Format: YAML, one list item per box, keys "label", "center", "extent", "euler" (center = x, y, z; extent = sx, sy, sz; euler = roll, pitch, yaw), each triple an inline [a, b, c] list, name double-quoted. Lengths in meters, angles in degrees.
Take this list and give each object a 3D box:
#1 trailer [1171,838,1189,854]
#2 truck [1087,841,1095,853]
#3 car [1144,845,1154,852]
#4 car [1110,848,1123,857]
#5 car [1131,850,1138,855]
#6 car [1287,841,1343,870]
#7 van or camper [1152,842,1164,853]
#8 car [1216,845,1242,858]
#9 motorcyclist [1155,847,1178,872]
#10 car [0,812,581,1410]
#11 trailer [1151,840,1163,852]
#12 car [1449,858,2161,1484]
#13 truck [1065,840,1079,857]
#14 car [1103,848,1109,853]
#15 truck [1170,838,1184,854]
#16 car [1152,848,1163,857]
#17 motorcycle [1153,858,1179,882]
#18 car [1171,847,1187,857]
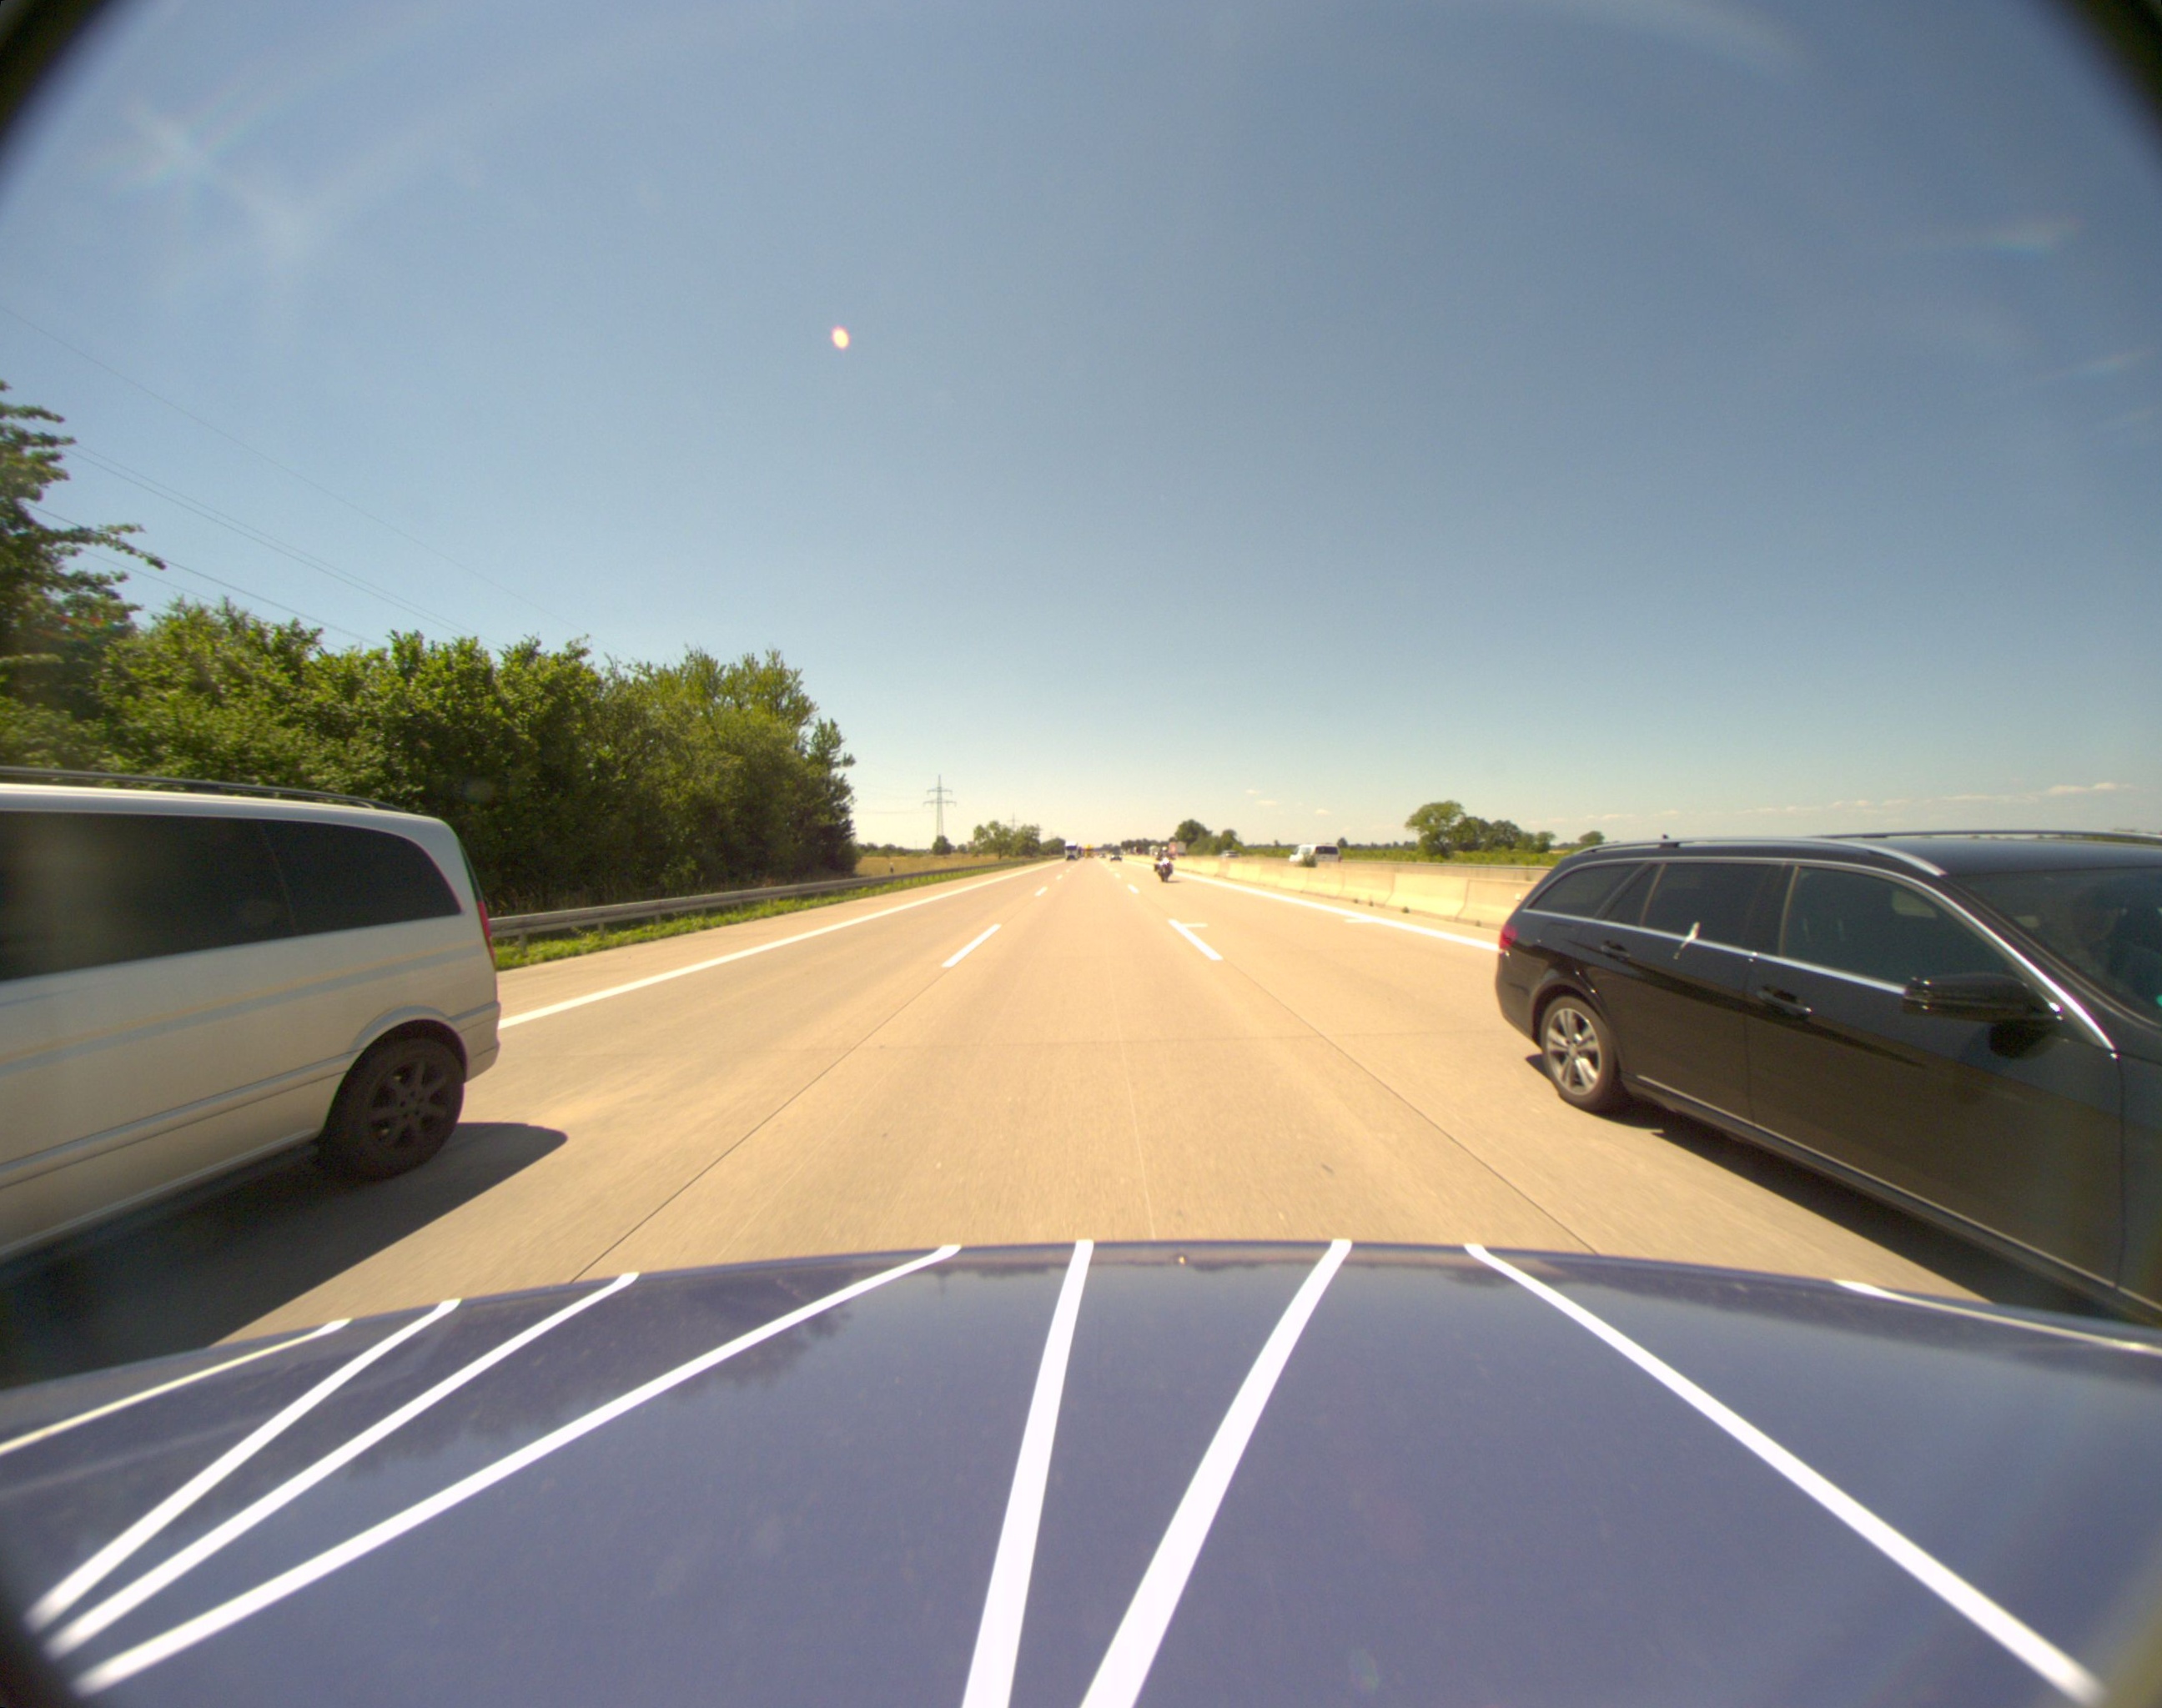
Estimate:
- label: "trailer"
  center: [24.819, -2.038, 191.221]
  extent: [3.007, 3.959, 12.341]
  euler: [-1, 0, 1]
- label: "truck"
  center: [3.092, -2.128, 237.220]
  extent: [2.570, 3.711, 10.099]
  euler: [-1, 0, 1]
- label: "car"
  center: [16.129, -1.379, 180.048]
  extent: [1.847, 1.606, 4.427]
  euler: [0, 0, 0]
- label: "car"
  center: [5.716, -0.280, 124.208]
  extent: [1.998, 1.518, 4.000]
  euler: [-1, 1, 1]
- label: "car"
  center: [16.069, -0.477, 229.628]
  extent: [1.798, 1.546, 4.601]
  euler: [-1, 0, 1]
- label: "car"
  center: [14.783, 0.078, 48.316]
  extent: [1.831, 1.708, 5.792]
  euler: [-1, 1, 1]
- label: "van or camper"
  center: [20.294, -1.703, 201.206]
  extent: [2.532, 2.873, 7.937]
  euler: [-1, 0, 1]
- label: "car"
  center: [18.276, -0.314, 93.792]
  extent: [2.070, 1.488, 6.135]
  euler: [0, 0, 1]
- label: "motorcyclist"
  center: [4.086, 0.256, 36.541]
  extent: [1.027, 1.202, 0.911]
  euler: [-1, 1, 2]
- label: "car"
  center: [-4.358, 0.830, 2.438]
  extent: [1.884, 1.878, 5.279]
  euler: [-2, 0, 1]
- label: "trailer"
  center: [25.950, -2.662, 260.815]
  extent: [2.742, 3.855, 11.103]
  euler: [-1, 0, 0]
- label: "car"
  center: [3.600, 0.792, 2.747]
  extent: [1.895, 1.465, 5.603]
  euler: [-1, 0, 1]
- label: "truck"
  center: [-1.940, -1.257, 166.795]
  extent: [2.570, 3.514, 10.099]
  euler: [-1, 0, 1]
- label: "car"
  center: [6.988, -1.013, 209.676]
  extent: [1.586, 1.527, 3.611]
  euler: [-1, 1, 1]
- label: "truck"
  center: [25.028, -2.106, 198.122]
  extent: [3.007, 3.959, 7.295]
  euler: [-1, 0, 2]
- label: "car"
  center: [14.408, -0.312, 142.474]
  extent: [1.692, 1.535, 4.338]
  euler: [-1, 0, 1]
- label: "motorcycle"
  center: [4.090, 0.768, 36.725]
  extent: [1.023, 1.042, 2.413]
  euler: [-2, 0, 2]
- label: "car"
  center: [14.180, -0.290, 110.193]
  extent: [1.761, 1.488, 4.080]
  euler: [0, 1, 1]
